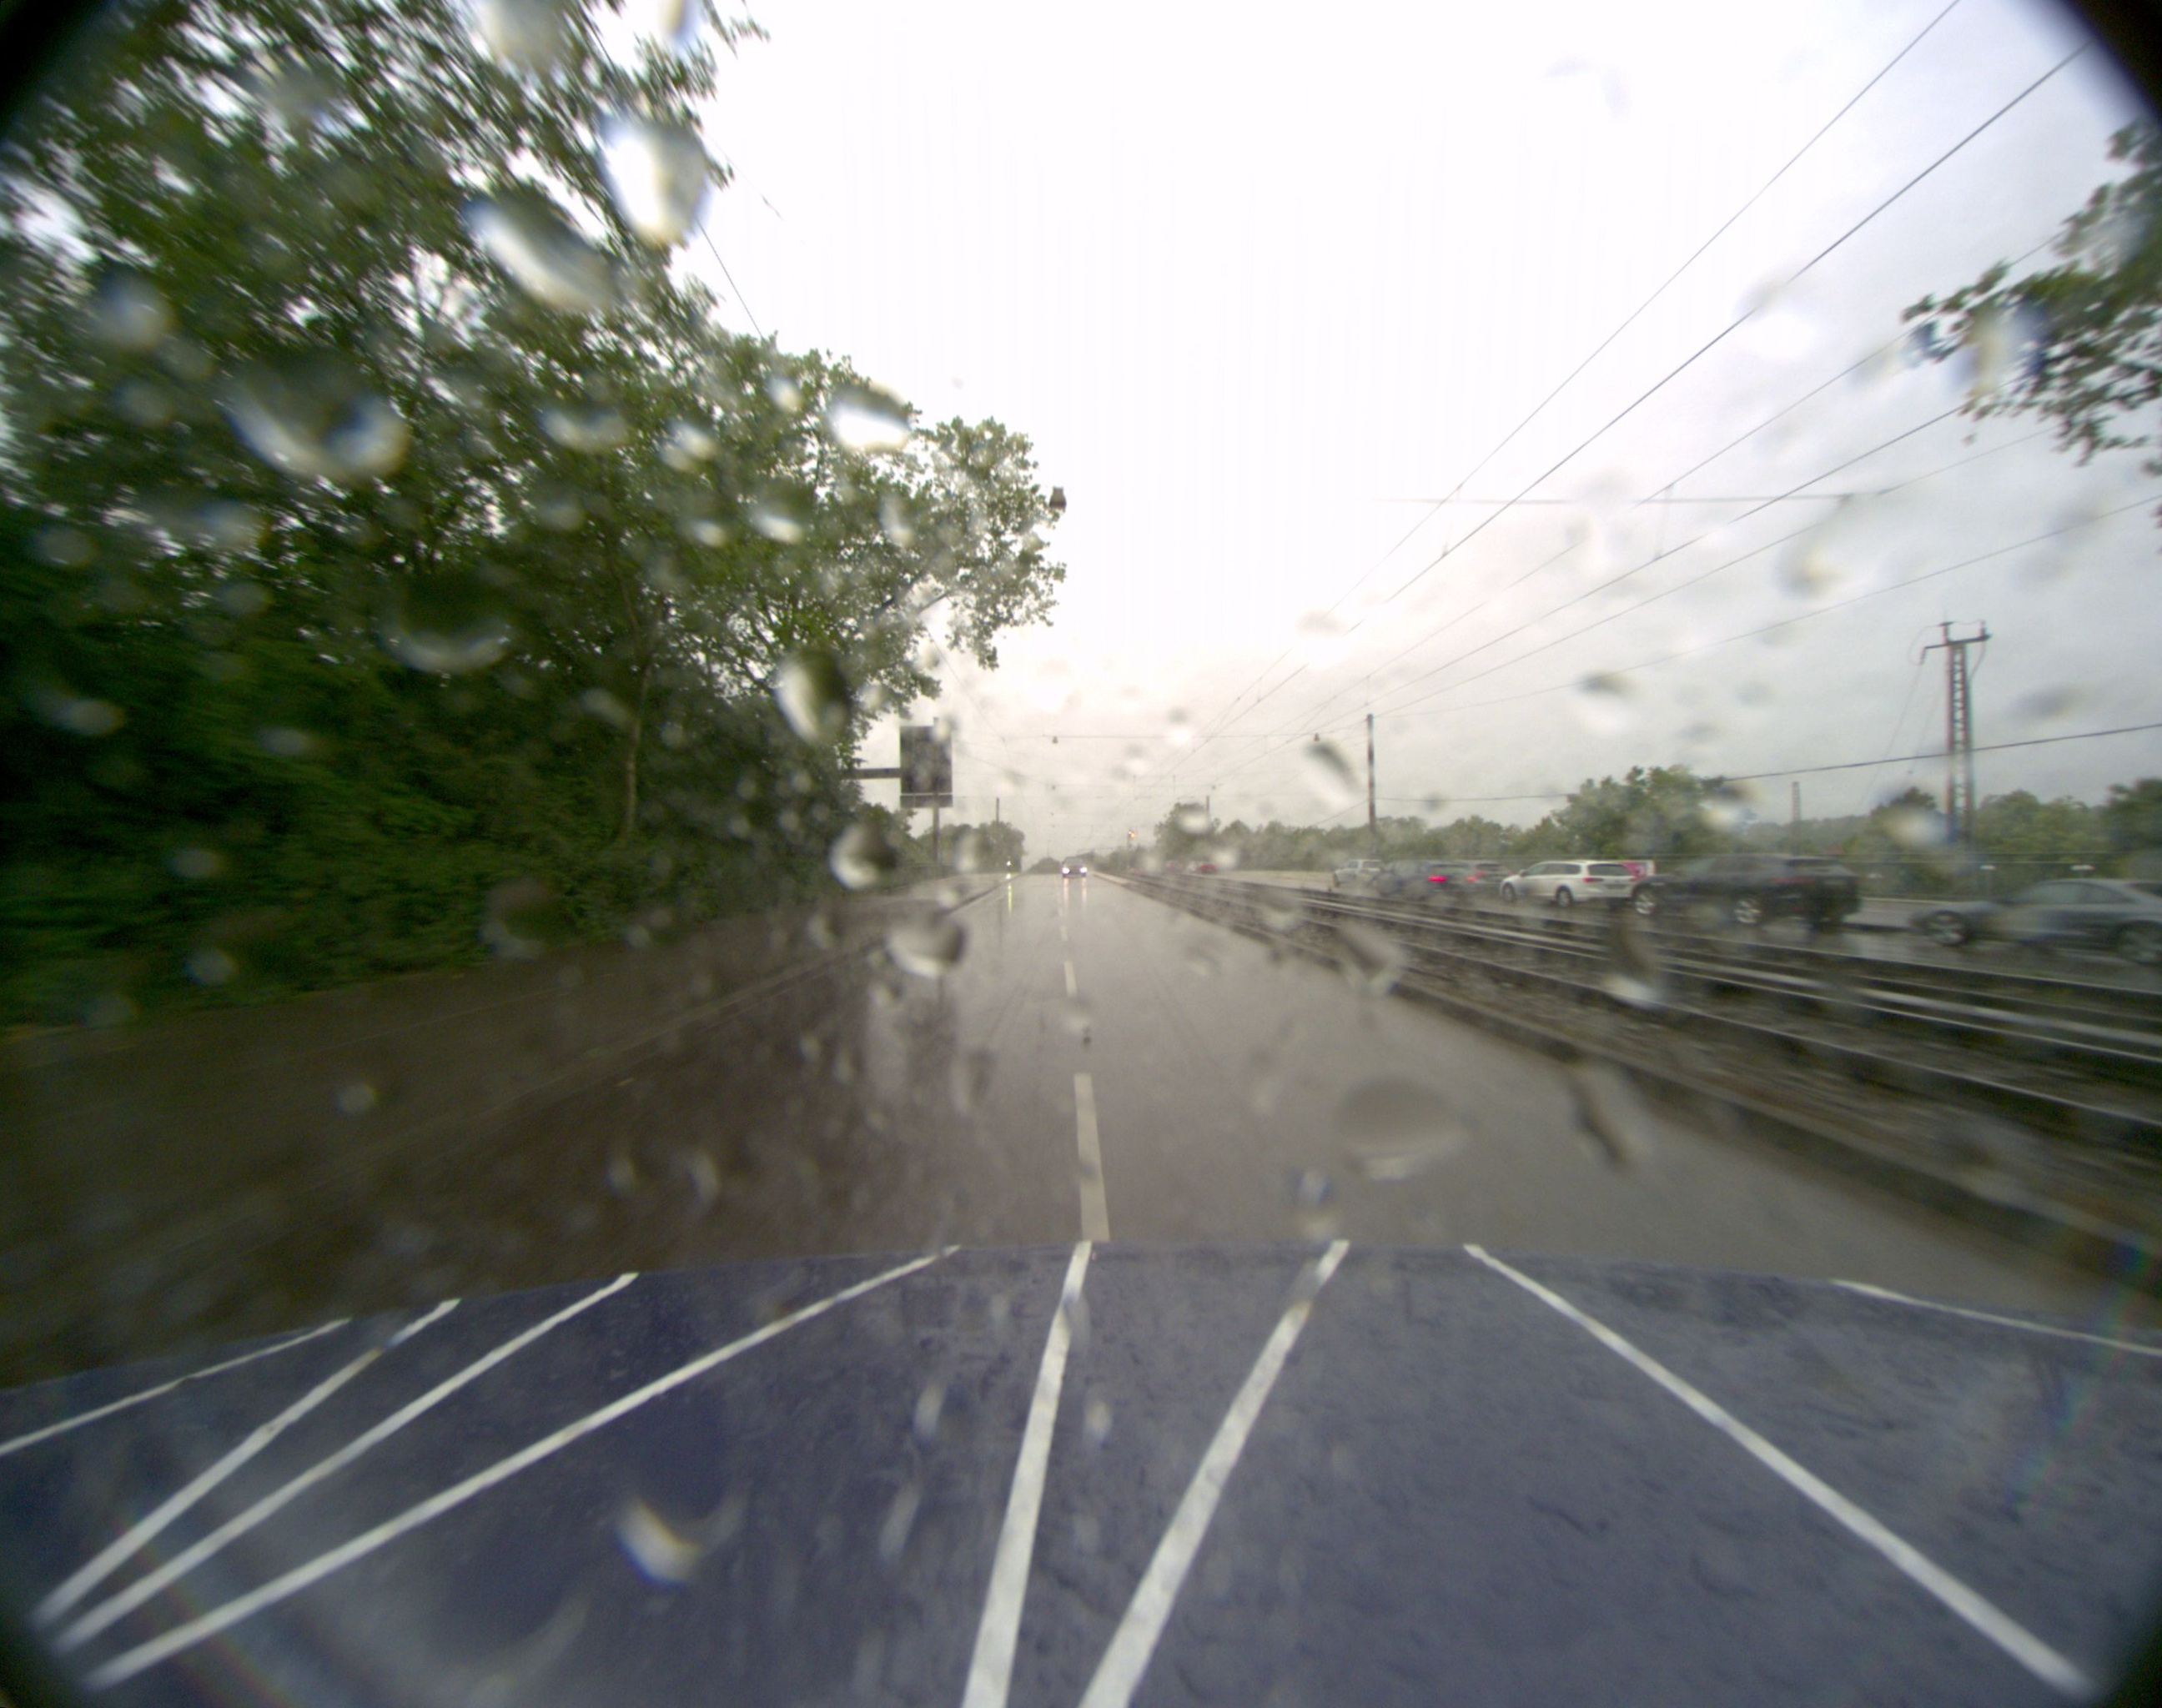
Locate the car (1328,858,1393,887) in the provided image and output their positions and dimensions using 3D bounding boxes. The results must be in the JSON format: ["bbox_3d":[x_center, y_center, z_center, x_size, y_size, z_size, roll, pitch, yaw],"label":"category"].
[{"bbox_3d":[14.906,0.949,40.755,1.653,1.423,4.151,0,0,-5],"label":"car"}]

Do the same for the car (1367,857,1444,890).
[{"bbox_3d":[15.167,0.879,35.723,1.653,1.423,3.924,0,0,-6],"label":"car"}]

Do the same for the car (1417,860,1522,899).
[{"bbox_3d":[15.253,0.953,30.098,1.653,1.423,4.130,0,0,-7],"label":"car"}]

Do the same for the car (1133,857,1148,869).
[{"bbox_3d":[9.069,1.369,116.123,1.998,1.706,3.999,-2,1,0],"label":"car"}]

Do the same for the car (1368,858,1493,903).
[{"bbox_3d":[12.510,0.882,27.615,2.039,1.458,4.916,0,0,-4],"label":"car"}]

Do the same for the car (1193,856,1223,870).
[{"bbox_3d":[13.617,0.984,81.851,2.039,1.458,4.917,-1,0,-4],"label":"car"}]

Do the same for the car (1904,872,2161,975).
[{"bbox_3d":[15.987,1.010,11.855,1.891,1.371,3.964,0,0,-3],"label":"car"}]

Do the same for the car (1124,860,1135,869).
[{"bbox_3d":[10.286,2.230,162.390,1.998,1.706,3.999,-2,1,0],"label":"car"}]

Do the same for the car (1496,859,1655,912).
[{"bbox_3d":[15.456,0.928,24.110,1.891,1.502,4.577,0,0,-3],"label":"car"}]

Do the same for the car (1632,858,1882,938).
[{"bbox_3d":[15.639,0.924,17.974,1.891,1.640,4.368,0,0,-3],"label":"car"}]

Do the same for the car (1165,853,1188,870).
[{"bbox_3d":[10.424,0.819,83.101,1.999,1.706,3.999,-2,1,-1],"label":"car"}]

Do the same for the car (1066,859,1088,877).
[{"bbox_3d":[-0.367,1.137,62.604,1.727,1.425,3.851,-1,0,0],"label":"car"}]
